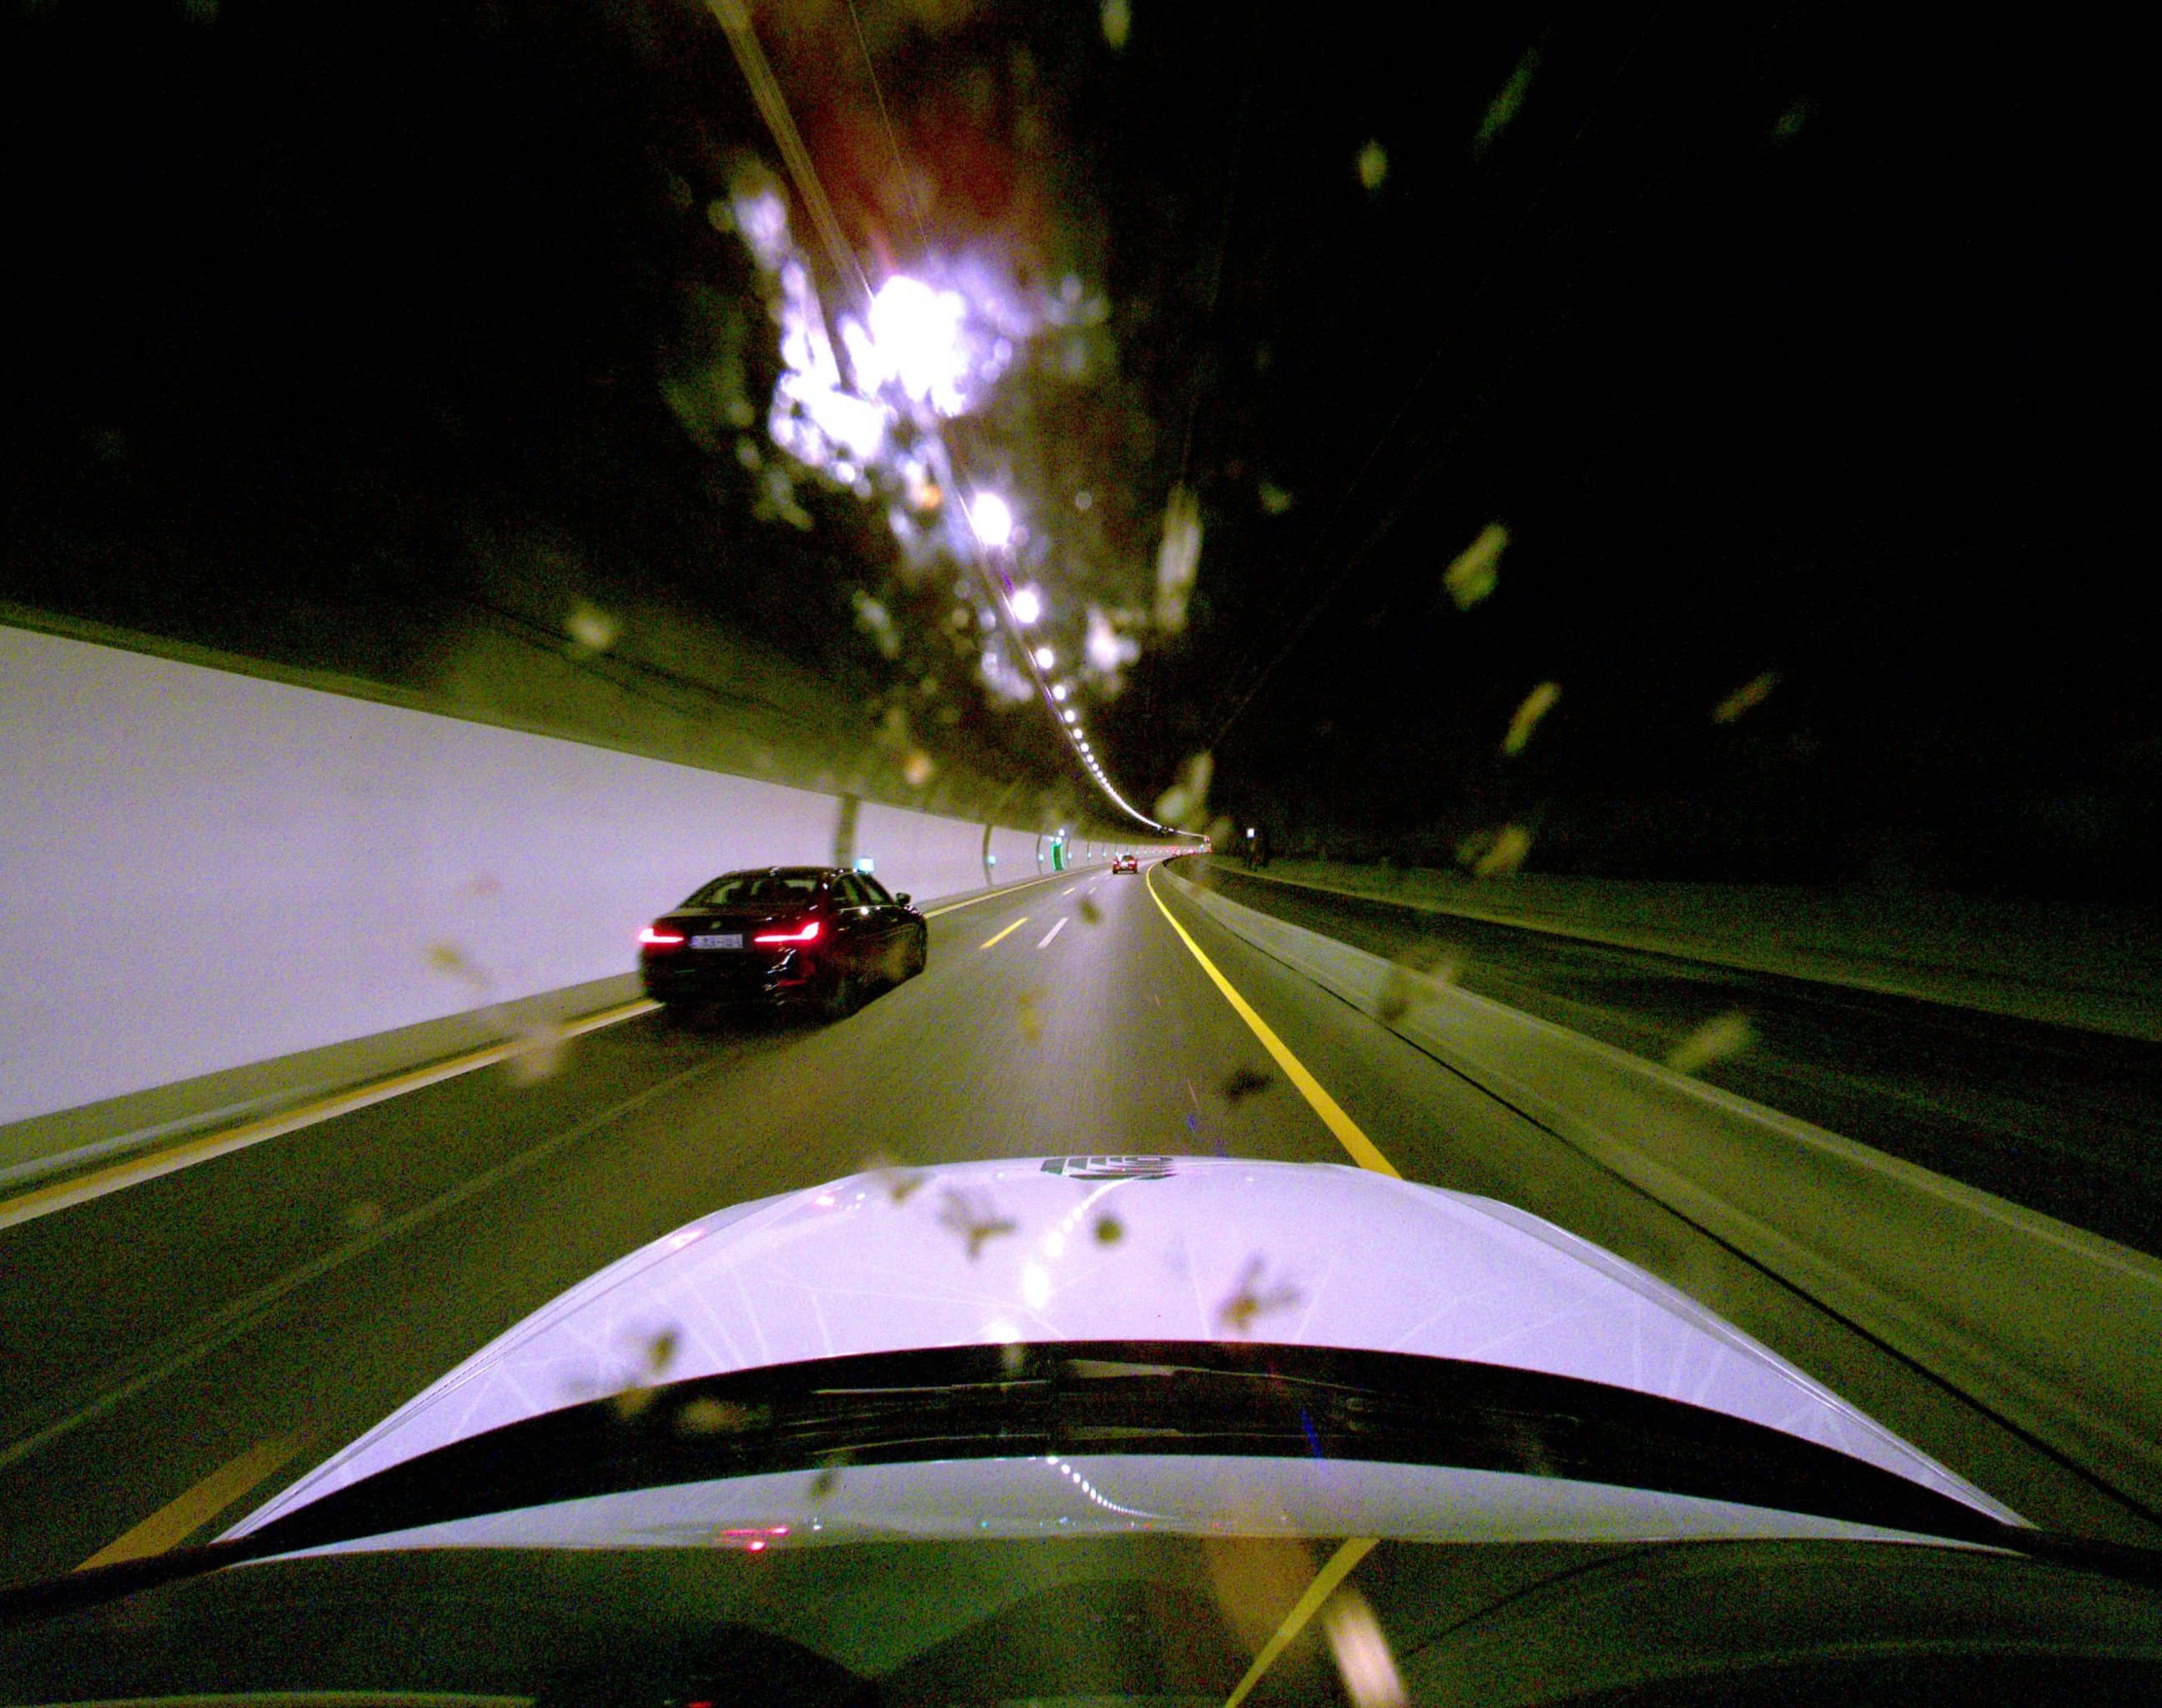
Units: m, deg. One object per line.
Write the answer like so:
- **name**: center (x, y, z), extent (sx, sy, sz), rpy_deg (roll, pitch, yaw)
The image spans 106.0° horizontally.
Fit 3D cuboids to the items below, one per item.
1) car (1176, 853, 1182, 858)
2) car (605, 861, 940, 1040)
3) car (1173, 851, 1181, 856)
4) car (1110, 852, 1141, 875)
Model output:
- **car**: center (27.121, 0.524, 225.818), extent (1.586, 1.333, 3.759), rpy_deg (0, 0, 8)
- **car**: center (-2.994, 0.827, 9.230), extent (1.771, 1.438, 4.885), rpy_deg (0, 0, 2)
- **car**: center (29.438, -0.056, 249.730), extent (2.149, 1.486, 4.015), rpy_deg (-1, 0, 14)
- **car**: center (3.488, 0.722, 63.212), extent (2.130, 1.706, 4.007), rpy_deg (-1, 0, 6)
